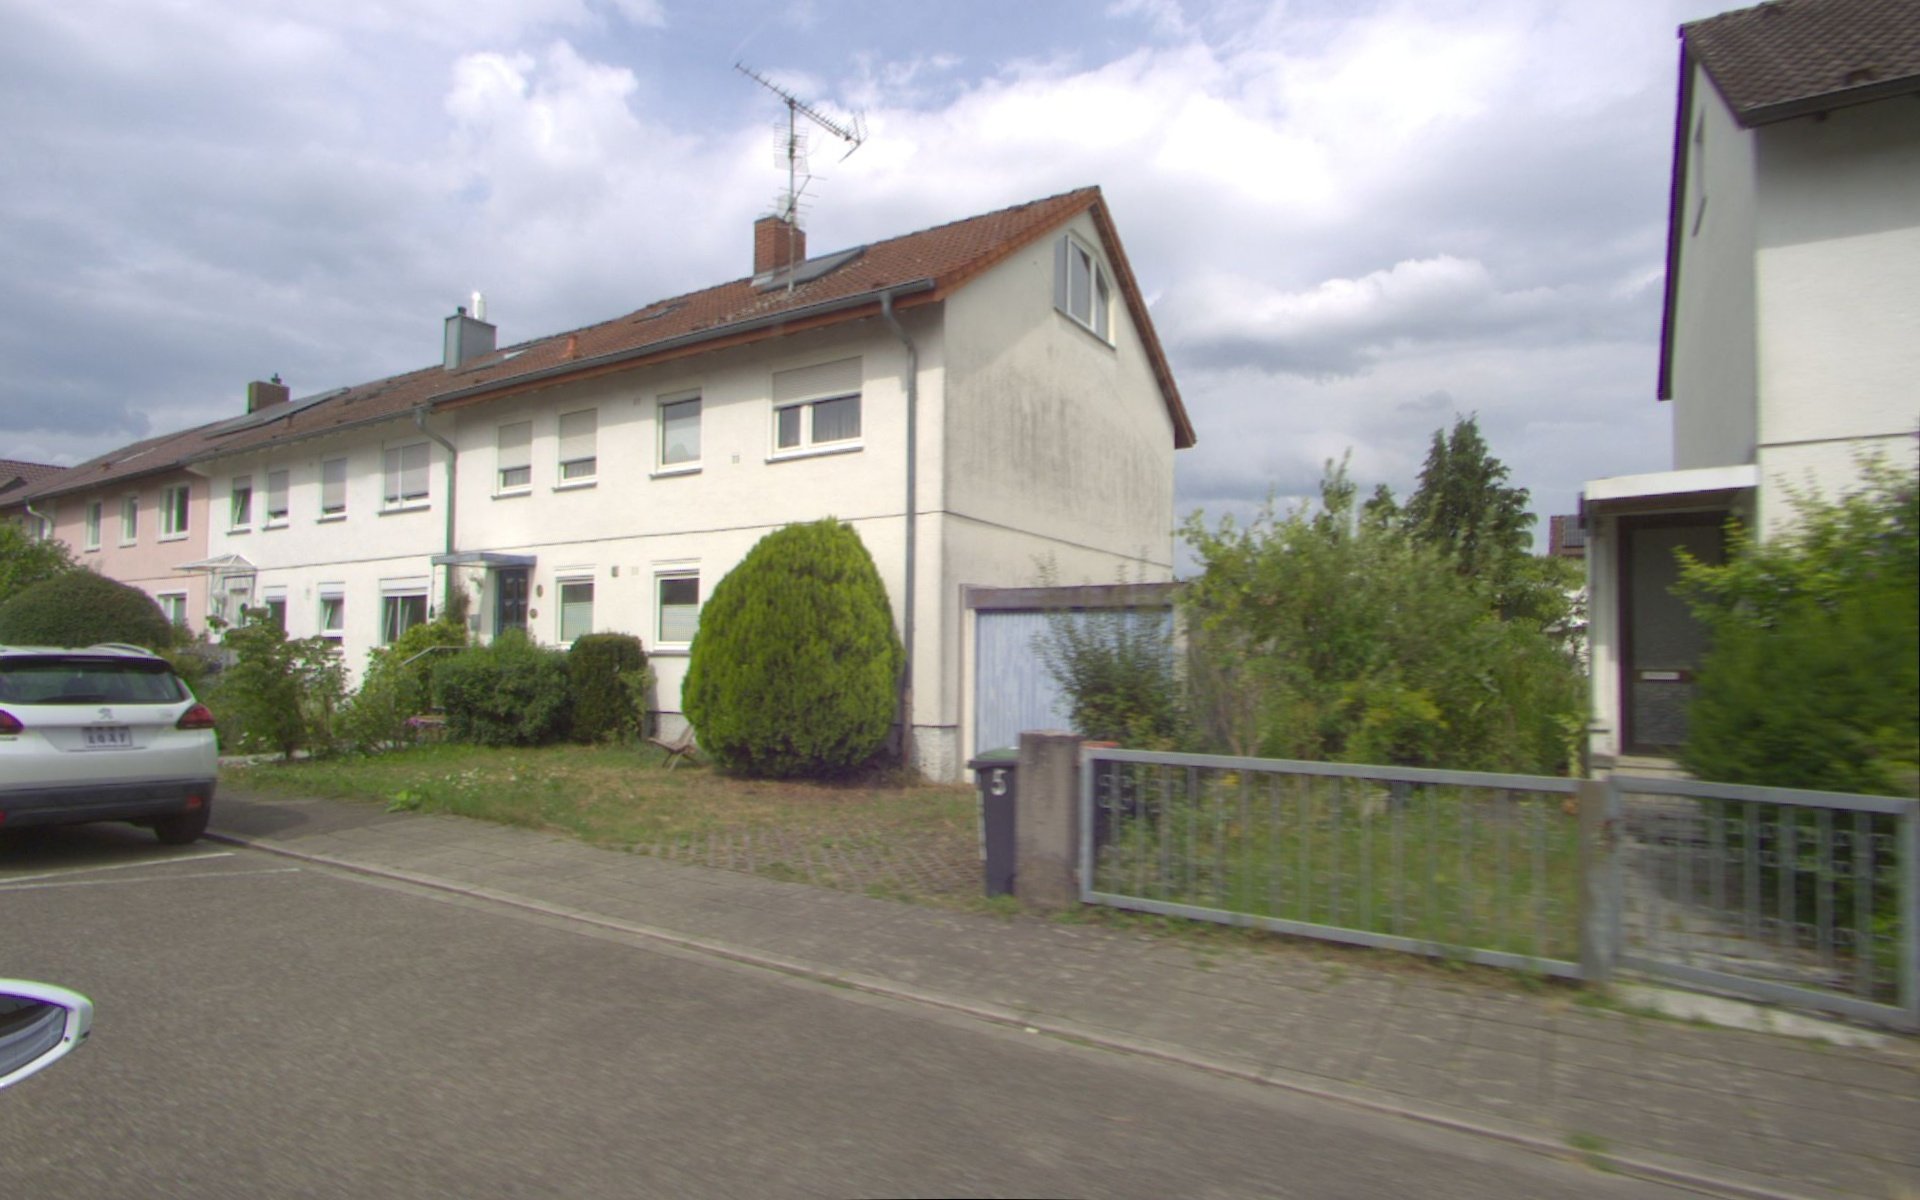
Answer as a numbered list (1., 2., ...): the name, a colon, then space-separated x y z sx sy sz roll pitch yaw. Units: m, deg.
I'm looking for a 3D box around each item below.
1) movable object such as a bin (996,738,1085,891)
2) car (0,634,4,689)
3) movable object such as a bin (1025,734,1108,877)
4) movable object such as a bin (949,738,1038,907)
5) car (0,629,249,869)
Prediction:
1. movable object such as a bin: 0.548 1.422 6.744 0.458 0.932 0.431 0 -4 27
2. car: -29.573 1.723 27.646 1.907 1.579 4.263 -1 -3 33
3. movable object such as a bin: 0.765 1.444 7.149 0.458 0.932 0.431 0 -4 27
4. movable object such as a bin: 0.211 1.348 6.176 0.414 0.933 0.407 0 -2 27
5. car: -7.650 1.051 8.050 3.916 1.562 1.712 -1 -5 32
